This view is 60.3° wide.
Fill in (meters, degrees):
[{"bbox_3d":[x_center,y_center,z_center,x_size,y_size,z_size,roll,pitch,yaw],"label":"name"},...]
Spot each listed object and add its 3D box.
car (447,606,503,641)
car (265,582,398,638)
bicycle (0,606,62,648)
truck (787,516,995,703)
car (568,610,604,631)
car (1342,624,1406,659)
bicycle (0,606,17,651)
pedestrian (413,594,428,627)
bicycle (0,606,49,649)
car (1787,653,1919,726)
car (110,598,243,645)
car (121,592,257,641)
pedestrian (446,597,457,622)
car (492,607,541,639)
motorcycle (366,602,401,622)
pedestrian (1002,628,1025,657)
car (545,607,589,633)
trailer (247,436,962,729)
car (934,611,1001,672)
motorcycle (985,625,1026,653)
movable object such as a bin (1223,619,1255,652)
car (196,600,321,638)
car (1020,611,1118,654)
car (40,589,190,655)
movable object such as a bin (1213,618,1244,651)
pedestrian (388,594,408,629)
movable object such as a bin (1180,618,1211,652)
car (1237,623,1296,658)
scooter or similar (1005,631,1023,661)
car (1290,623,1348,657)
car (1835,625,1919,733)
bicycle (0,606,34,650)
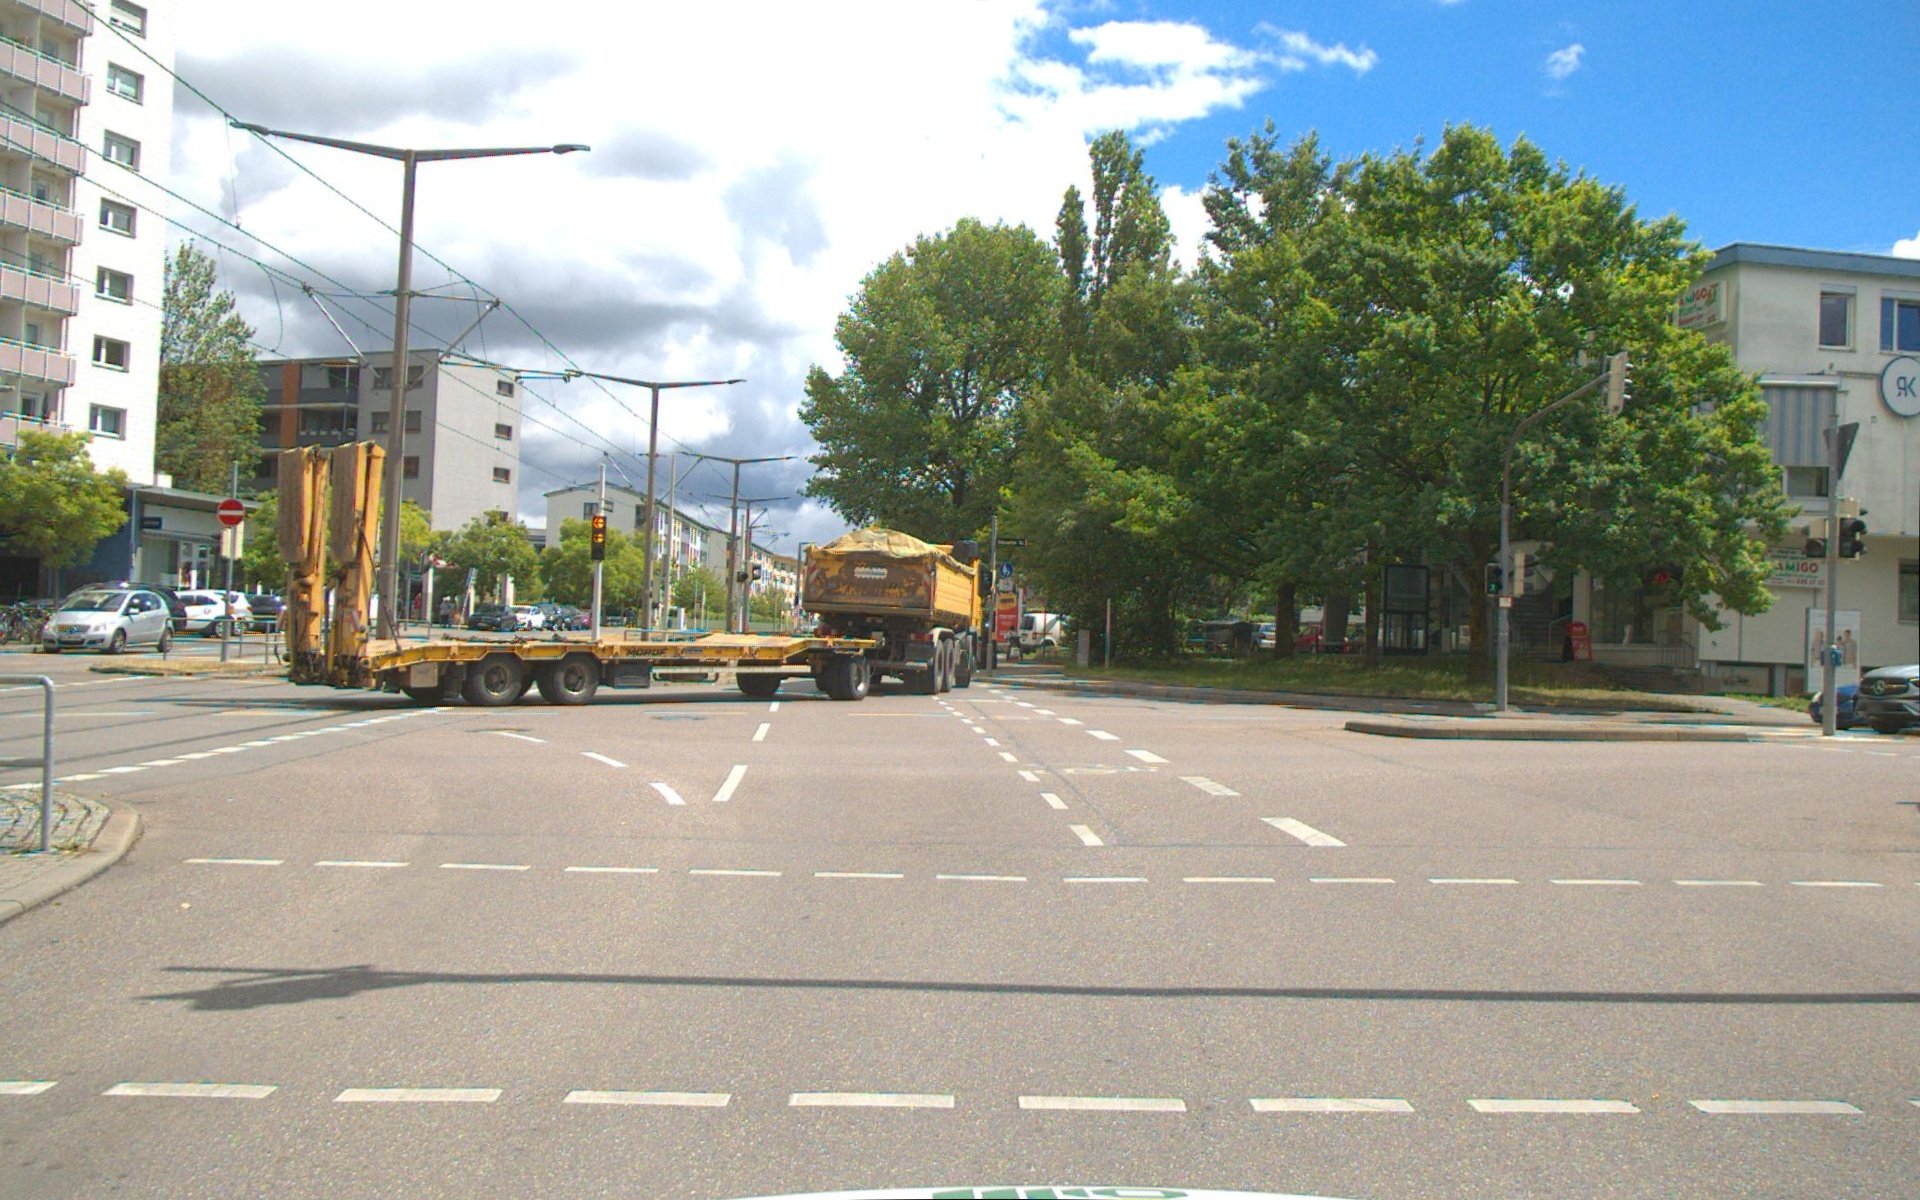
[{"bbox_3d":[-25.537,1.240,87.191,1.955,1.691,4.095,3,0,-5],"label":"car"},{"bbox_3d":[-25.590,0.425,67.476,1.875,2.194,4.727,1,-1,45],"label":"car"},{"bbox_3d":[-25.026,0.696,43.507,2.378,1.085,0.704,1,0,-2],"label":"bicycle"},{"bbox_3d":[-1.201,0.190,34.485,2.773,3.388,7.990,1,0,9],"label":"truck"},{"bbox_3d":[-26.267,1.441,116.317,1.579,1.451,3.424,1,0,3],"label":"car"},{"bbox_3d":[19.126,1.896,76.607,1.709,1.496,3.997,1,0,-4],"label":"car"},{"bbox_3d":[-24.861,0.689,41.121,2.378,1.085,0.704,1,0,-2],"label":"bicycle"},{"bbox_3d":[-29.877,0.573,91.577,0.599,1.824,0.843,1,-1,-4],"label":"pedestrian"},{"bbox_3d":[-24.971,0.694,42.759,2.378,1.085,0.704,1,0,-2],"label":"bicycle"},{"bbox_3d":[17.217,1.618,29.654,3.886,1.247,1.909,1,-3,-9],"label":"car"},{"bbox_3d":[-26.545,0.743,56.087,3.736,1.522,1.720,1,0,-43],"label":"car"},{"bbox_3d":[-27.309,0.594,58.669,1.872,1.660,3.977,1,0,41],"label":"car"},{"bbox_3d":[-29.626,0.552,96.396,0.492,1.486,0.555,1,-1,-31],"label":"pedestrian"},{"bbox_3d":[-25.434,1.281,95.046,1.955,1.691,4.095,3,0,-5],"label":"car"},{"bbox_3d":[-35.117,0.719,100.760,1.855,1.199,0.740,1,0,-6],"label":"motorcycle"},{"bbox_3d":[2.001,1.587,61.584,0.761,1.073,0.546,1,-1,-10],"label":"pedestrian"},{"bbox_3d":[-26.020,1.297,109.721,1.953,1.677,4.099,1,0,0],"label":"car"},{"bbox_3d":[-5.139,-0.158,26.853,11.522,3.839,3.011,1,-1,-44],"label":"trailer"},{"bbox_3d":[0.199,1.260,52.038,1.612,1.793,4.564,1,0,-6],"label":"car"},{"bbox_3d":[2.089,1.801,76.532,1.773,1.231,0.706,1,-1,-26],"label":"motorcycle"},{"bbox_3d":[12.472,1.585,74.028,1.093,1.455,1.284,1,0,-6],"label":"movable object such as a bin"},{"bbox_3d":[-26.694,0.729,62.981,1.875,1.408,3.971,1,0,45],"label":"car"},{"bbox_3d":[4.791,1.431,72.826,3.939,1.855,1.795,1,0,-27],"label":"car"},{"bbox_3d":[-21.142,0.541,41.548,1.781,1.559,3.755,1,0,1],"label":"car"},{"bbox_3d":[12.276,1.585,75.738,1.093,1.455,1.284,1,0,-6],"label":"movable object such as a bin"},{"bbox_3d":[-27.490,0.554,80.923,0.829,1.678,0.609,2,-1,-24],"label":"pedestrian"},{"bbox_3d":[10.416,1.542,73.153,1.093,1.455,1.284,1,0,-6],"label":"movable object such as a bin"},{"bbox_3d":[14.201,1.846,76.780,1.901,1.516,3.999,1,0,-1],"label":"car"},{"bbox_3d":[2.007,1.717,61.594,0.468,1.073,0.895,1,0,-9],"label":"scooter or similar"},{"bbox_3d":[16.743,1.842,77.303,1.708,1.468,3.999,1,0,-1],"label":"car"},{"bbox_3d":[16.577,1.278,26.228,4.555,1.620,1.919,1,-3,-9],"label":"car"},{"bbox_3d":[-24.927,0.692,42.000,2.378,1.085,0.704,1,0,-2],"label":"bicycle"}]
